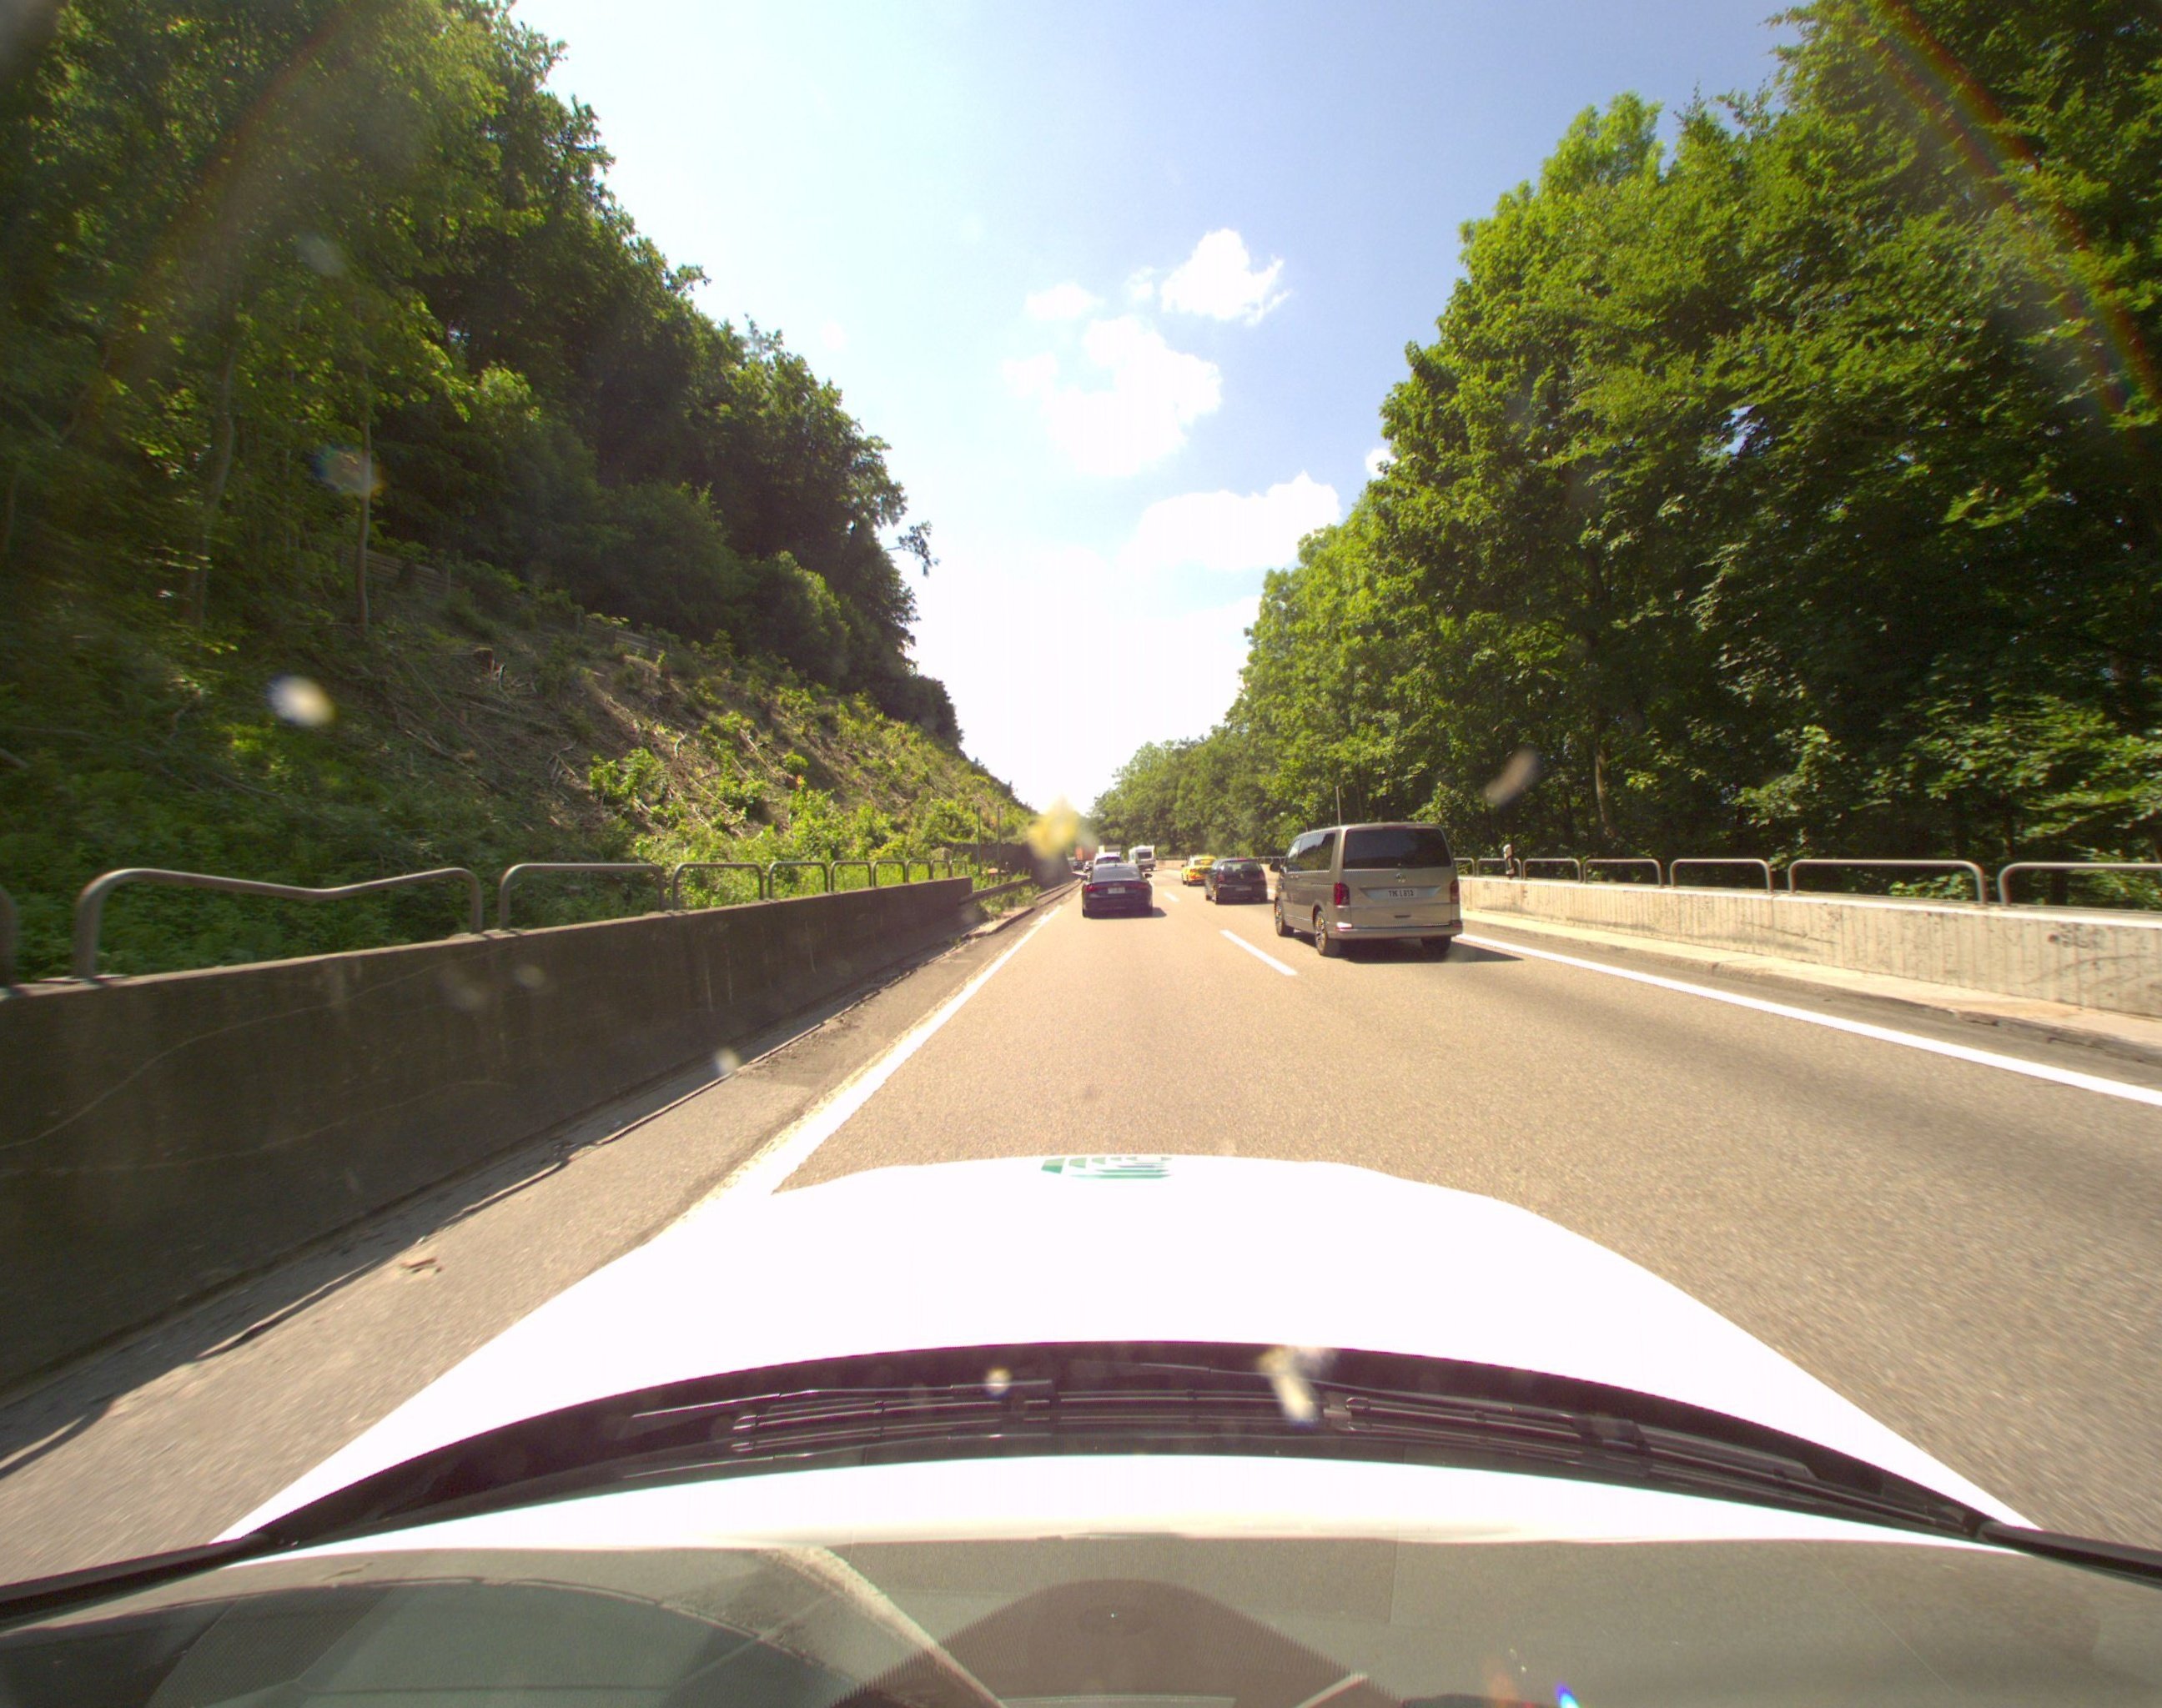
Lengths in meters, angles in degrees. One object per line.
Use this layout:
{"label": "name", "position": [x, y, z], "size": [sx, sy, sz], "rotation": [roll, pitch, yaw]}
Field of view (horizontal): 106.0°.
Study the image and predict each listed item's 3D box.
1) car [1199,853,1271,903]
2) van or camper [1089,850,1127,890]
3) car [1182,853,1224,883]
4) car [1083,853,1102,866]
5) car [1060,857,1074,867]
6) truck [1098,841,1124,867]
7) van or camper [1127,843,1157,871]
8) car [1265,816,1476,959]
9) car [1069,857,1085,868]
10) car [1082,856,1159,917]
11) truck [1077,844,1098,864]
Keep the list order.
{"label": "car", "position": [4.958, 0.725, 26.631], "size": [1.678, 1.458, 4.002], "rotation": [-2, 0, 2]}
{"label": "van or camper", "position": [1.390, 0.783, 41.223], "size": [1.846, 1.942, 4.168], "rotation": [0, 0, 3]}
{"label": "car", "position": [6.226, 0.703, 41.970], "size": [1.800, 1.478, 4.086], "rotation": [0, 0, 4]}
{"label": "car", "position": [1.454, 0.754, 104.803], "size": [1.991, 1.618, 3.992], "rotation": [0, 0, -6]}
{"label": "car", "position": [-2.368, 1.295, 133.780], "size": [1.750, 1.571, 3.759], "rotation": [-1, 0, -9]}
{"label": "truck", "position": [4.493, 0.028, 123.067], "size": [2.921, 3.687, 7.707], "rotation": [0, 0, -6]}
{"label": "van or camper", "position": [6.490, 0.338, 87.456], "size": [2.596, 2.855, 6.332], "rotation": [-1, 0, -1]}
{"label": "car", "position": [4.499, 0.468, 13.512], "size": [1.933, 1.931, 4.696], "rotation": [-1, 0, 2]}
{"label": "car", "position": [-0.635, 1.221, 119.538], "size": [1.751, 1.571, 3.757], "rotation": [-1, 0, -11]}
{"label": "car", "position": [0.999, 0.838, 22.865], "size": [1.899, 1.489, 4.378], "rotation": [-2, 0, 0]}
{"label": "truck", "position": [1.171, 0.080, 145.523], "size": [3.157, 3.468, 8.210], "rotation": [0, 0, -4]}
